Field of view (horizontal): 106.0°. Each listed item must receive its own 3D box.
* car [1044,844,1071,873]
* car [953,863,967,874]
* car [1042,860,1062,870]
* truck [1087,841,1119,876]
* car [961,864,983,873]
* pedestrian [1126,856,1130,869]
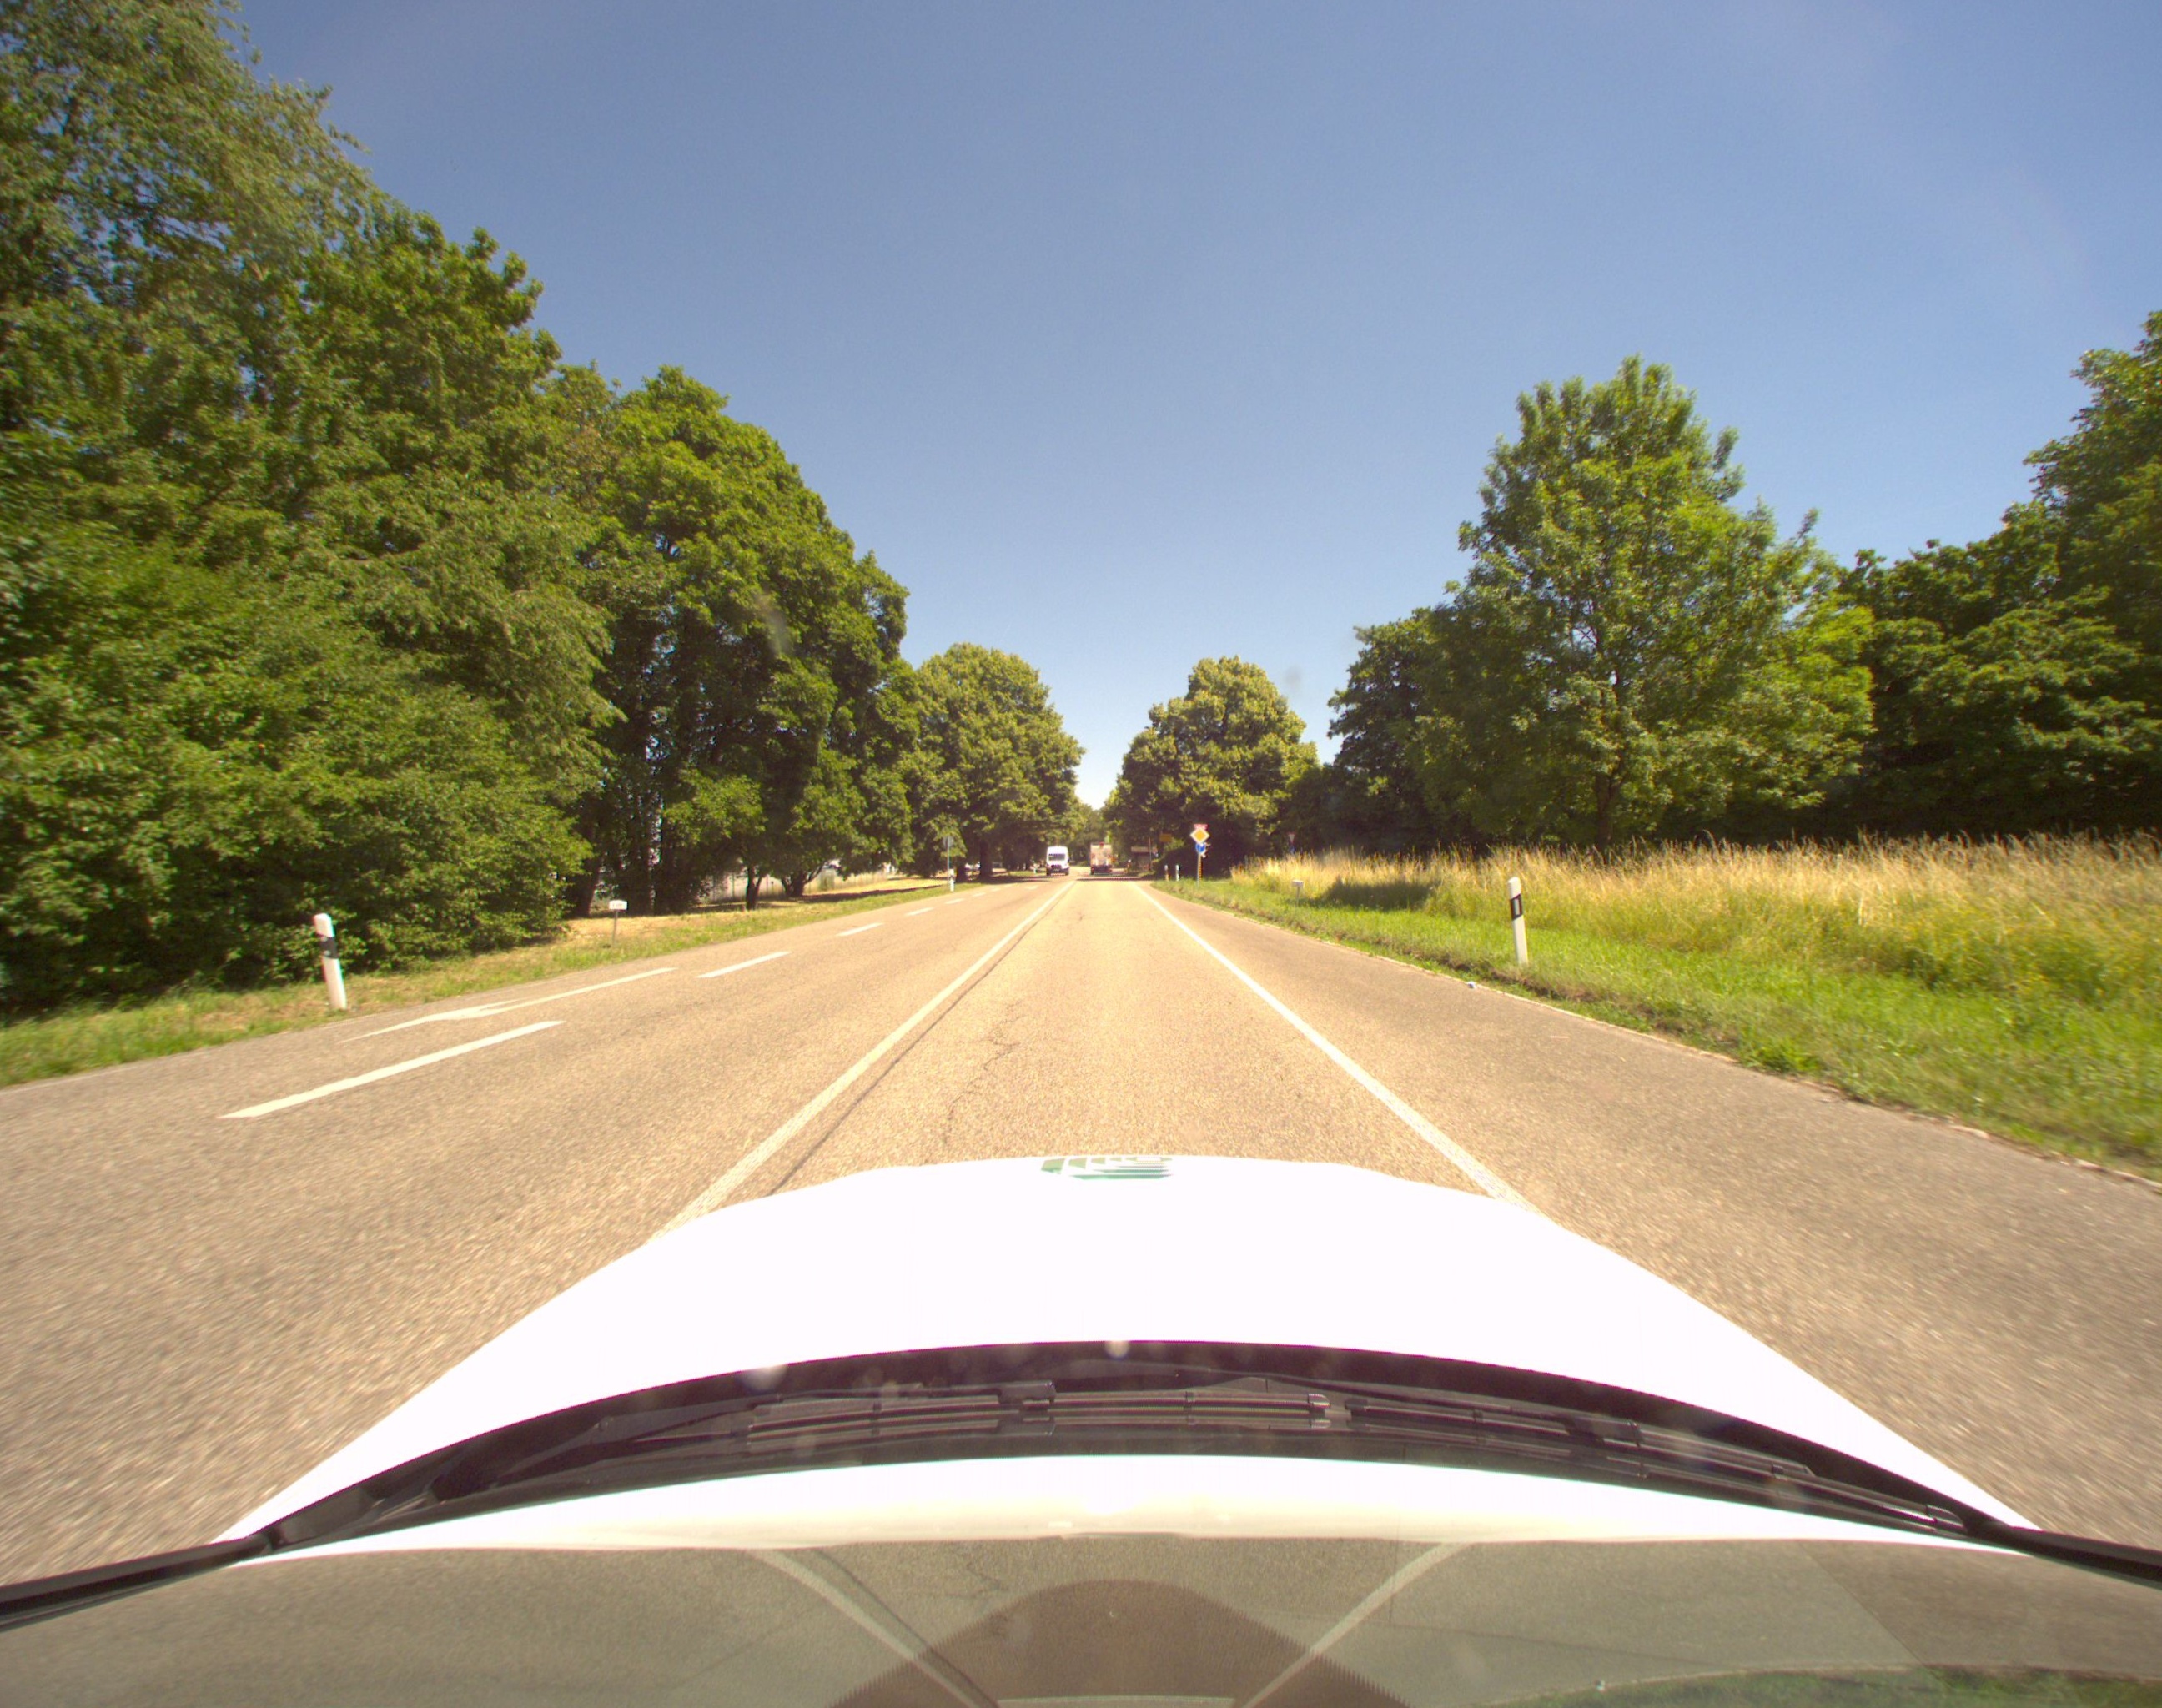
[{"bbox_3d":[-2.157,0.441,76.937,2.065,2.627,6.787,-1,-1,3],"label":"car"},{"bbox_3d":[-18.342,2.141,122.885,1.738,1.585,3.981,-1,-1,-14],"label":"car"},{"bbox_3d":[-5.556,2.191,155.554,2.003,1.857,5.273,-1,-1,-24],"label":"car"},{"bbox_3d":[2.112,0.406,76.928,2.521,3.135,5.369,-1,0,5],"label":"truck"},{"bbox_3d":[-17.243,2.315,128.381,3.389,1.362,1.343,-2,-1,33],"label":"car"},{"bbox_3d":[6.304,1.177,109.125,0.545,1.776,0.578,-1,-1,5],"label":"pedestrian"}]
